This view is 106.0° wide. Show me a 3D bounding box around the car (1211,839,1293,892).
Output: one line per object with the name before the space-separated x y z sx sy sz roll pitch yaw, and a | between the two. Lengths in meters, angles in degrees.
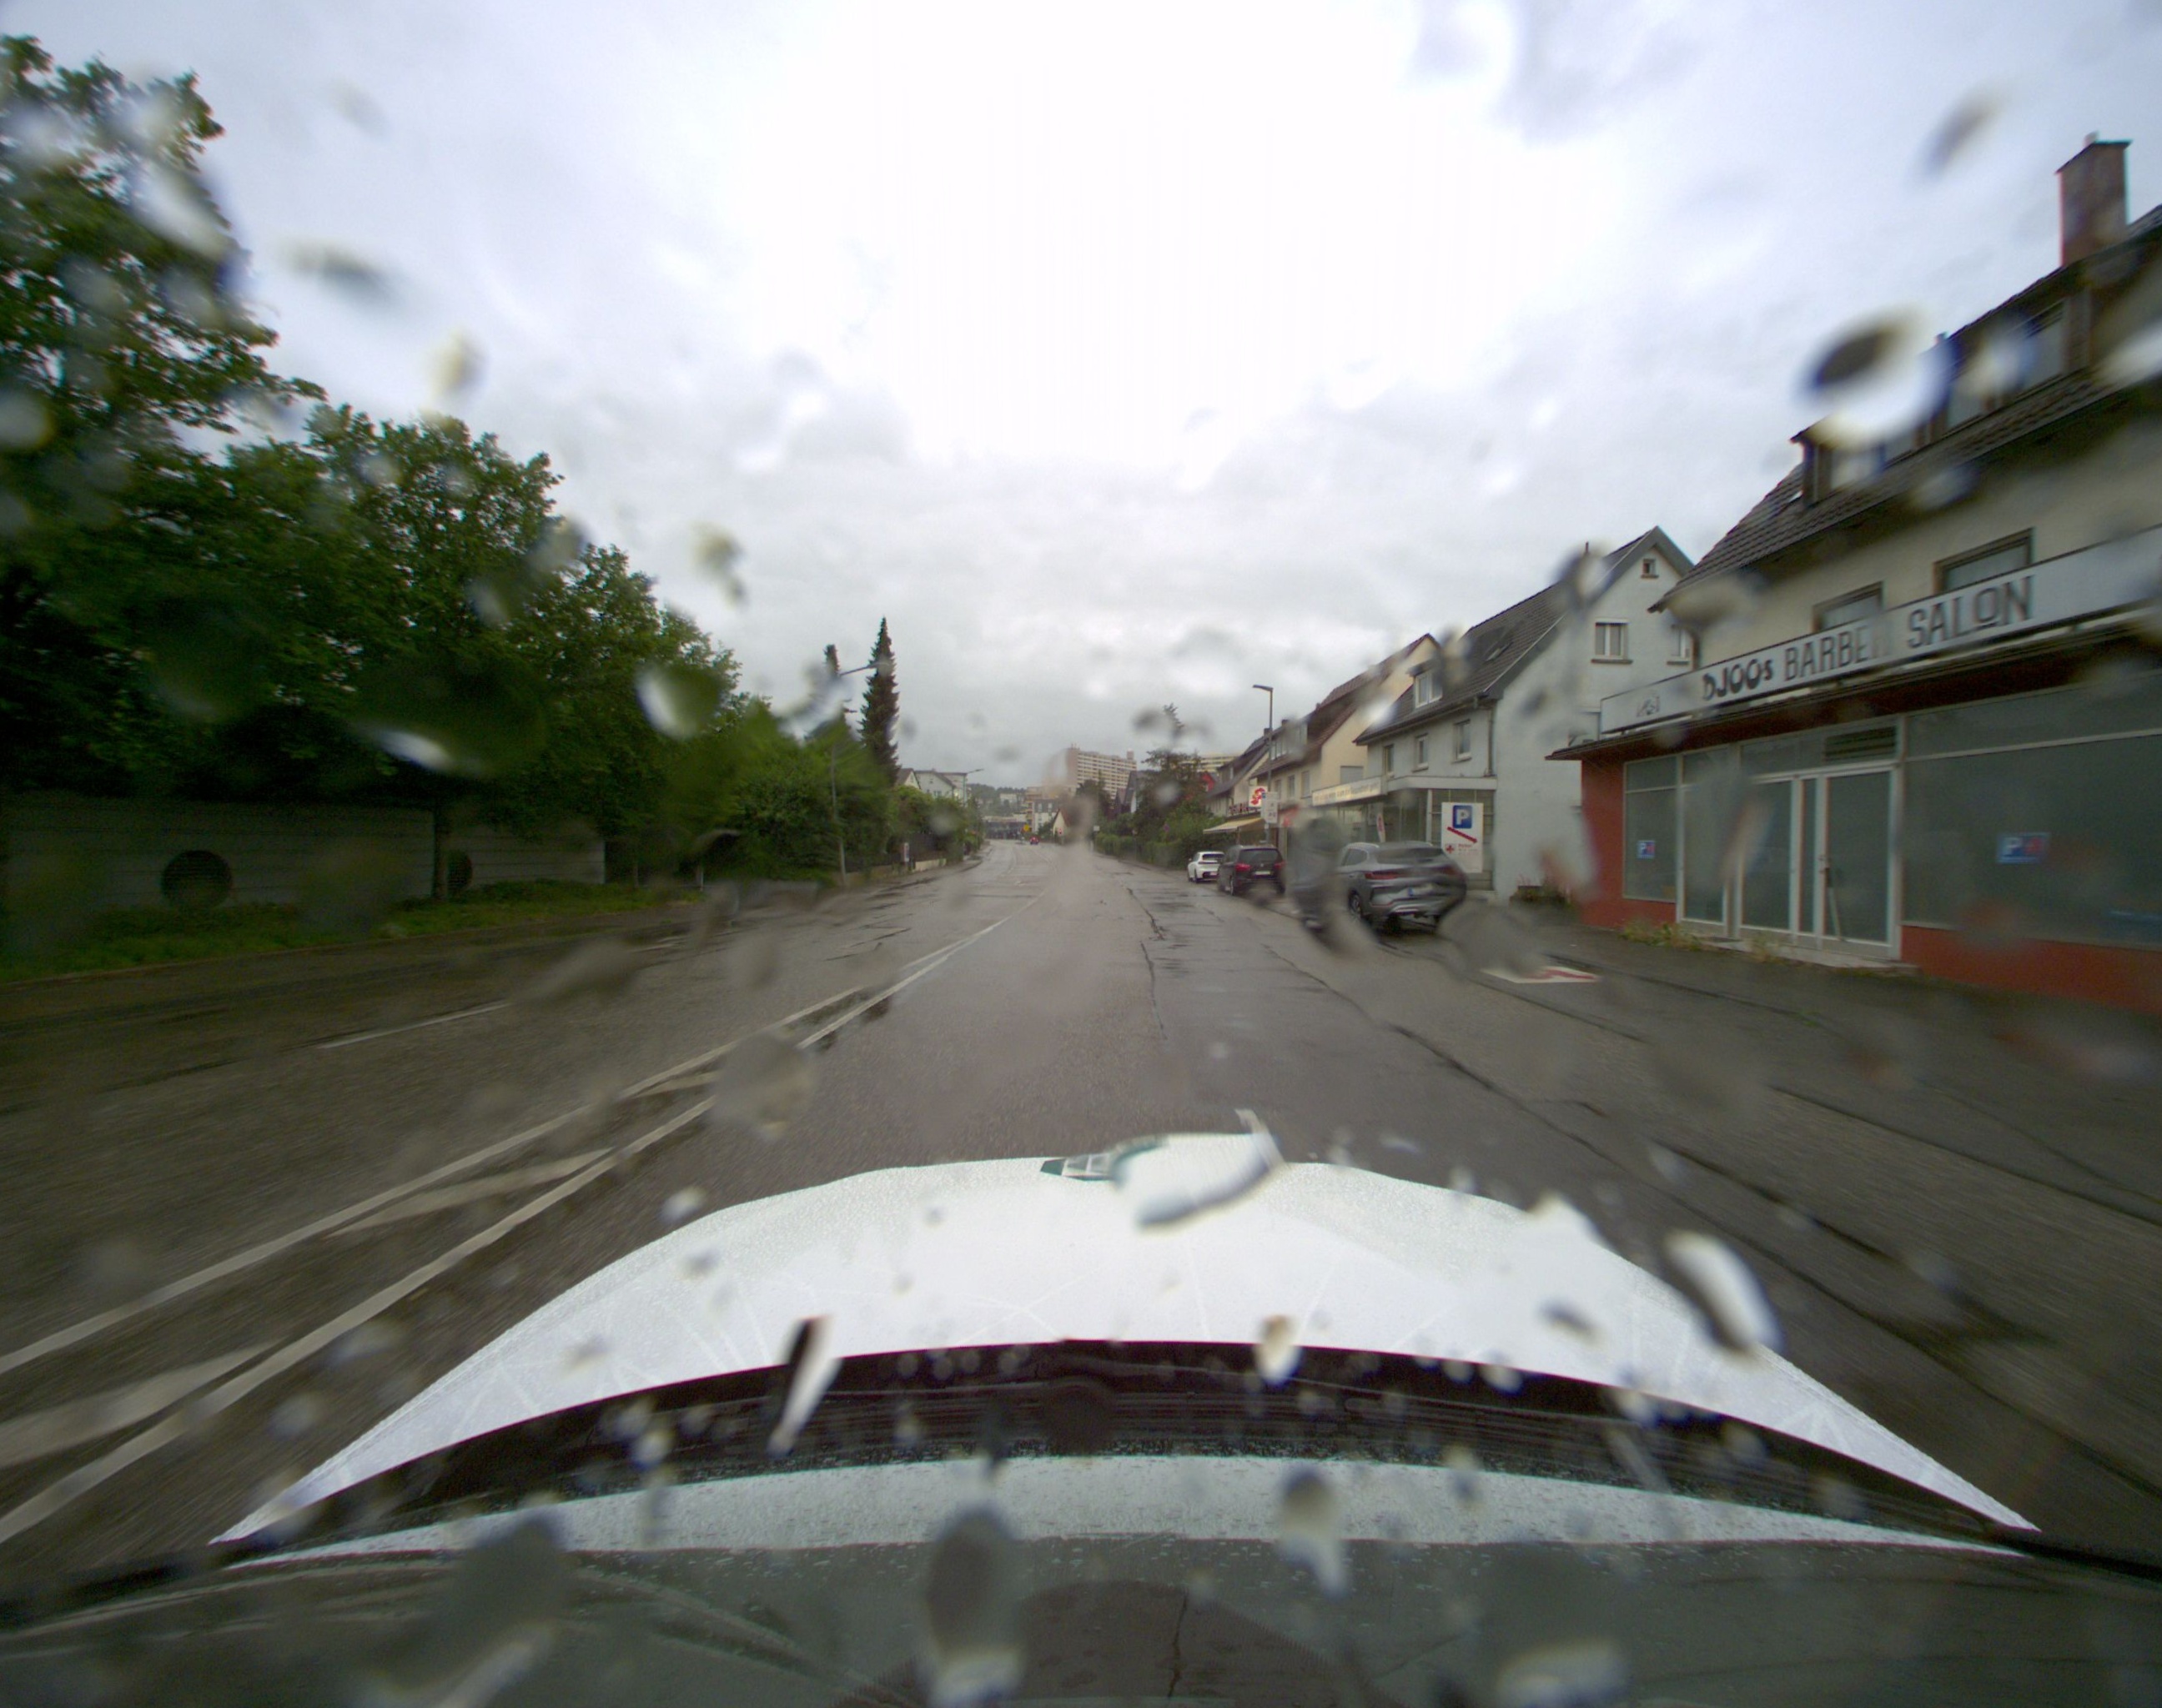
car | 6.062 0.413 29.438 2.028 1.695 4.965 -2 0 2

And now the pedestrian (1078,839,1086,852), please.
pedestrian | 0.130 -1.217 115.951 0.826 1.797 0.794 0 1 -23

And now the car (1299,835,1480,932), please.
car | 6.059 0.538 16.705 1.869 1.643 4.792 -2 0 0

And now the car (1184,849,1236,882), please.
car | 6.166 0.506 39.327 1.809 1.448 4.203 -1 0 0

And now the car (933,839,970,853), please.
car | -15.527 -0.950 97.359 3.959 1.686 1.815 0 0 13

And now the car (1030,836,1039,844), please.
car | -10.017 -2.958 175.000 1.790 1.669 3.995 -1 0 -3

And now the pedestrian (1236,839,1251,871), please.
pedestrian | 8.456 0.045 42.278 0.554 1.678 0.511 0 0 -37

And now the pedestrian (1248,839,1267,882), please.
pedestrian | 7.932 0.274 36.548 0.616 1.891 0.651 1 0 36

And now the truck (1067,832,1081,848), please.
truck | -1.030 -2.120 119.842 1.988 2.303 3.999 0 1 -1
